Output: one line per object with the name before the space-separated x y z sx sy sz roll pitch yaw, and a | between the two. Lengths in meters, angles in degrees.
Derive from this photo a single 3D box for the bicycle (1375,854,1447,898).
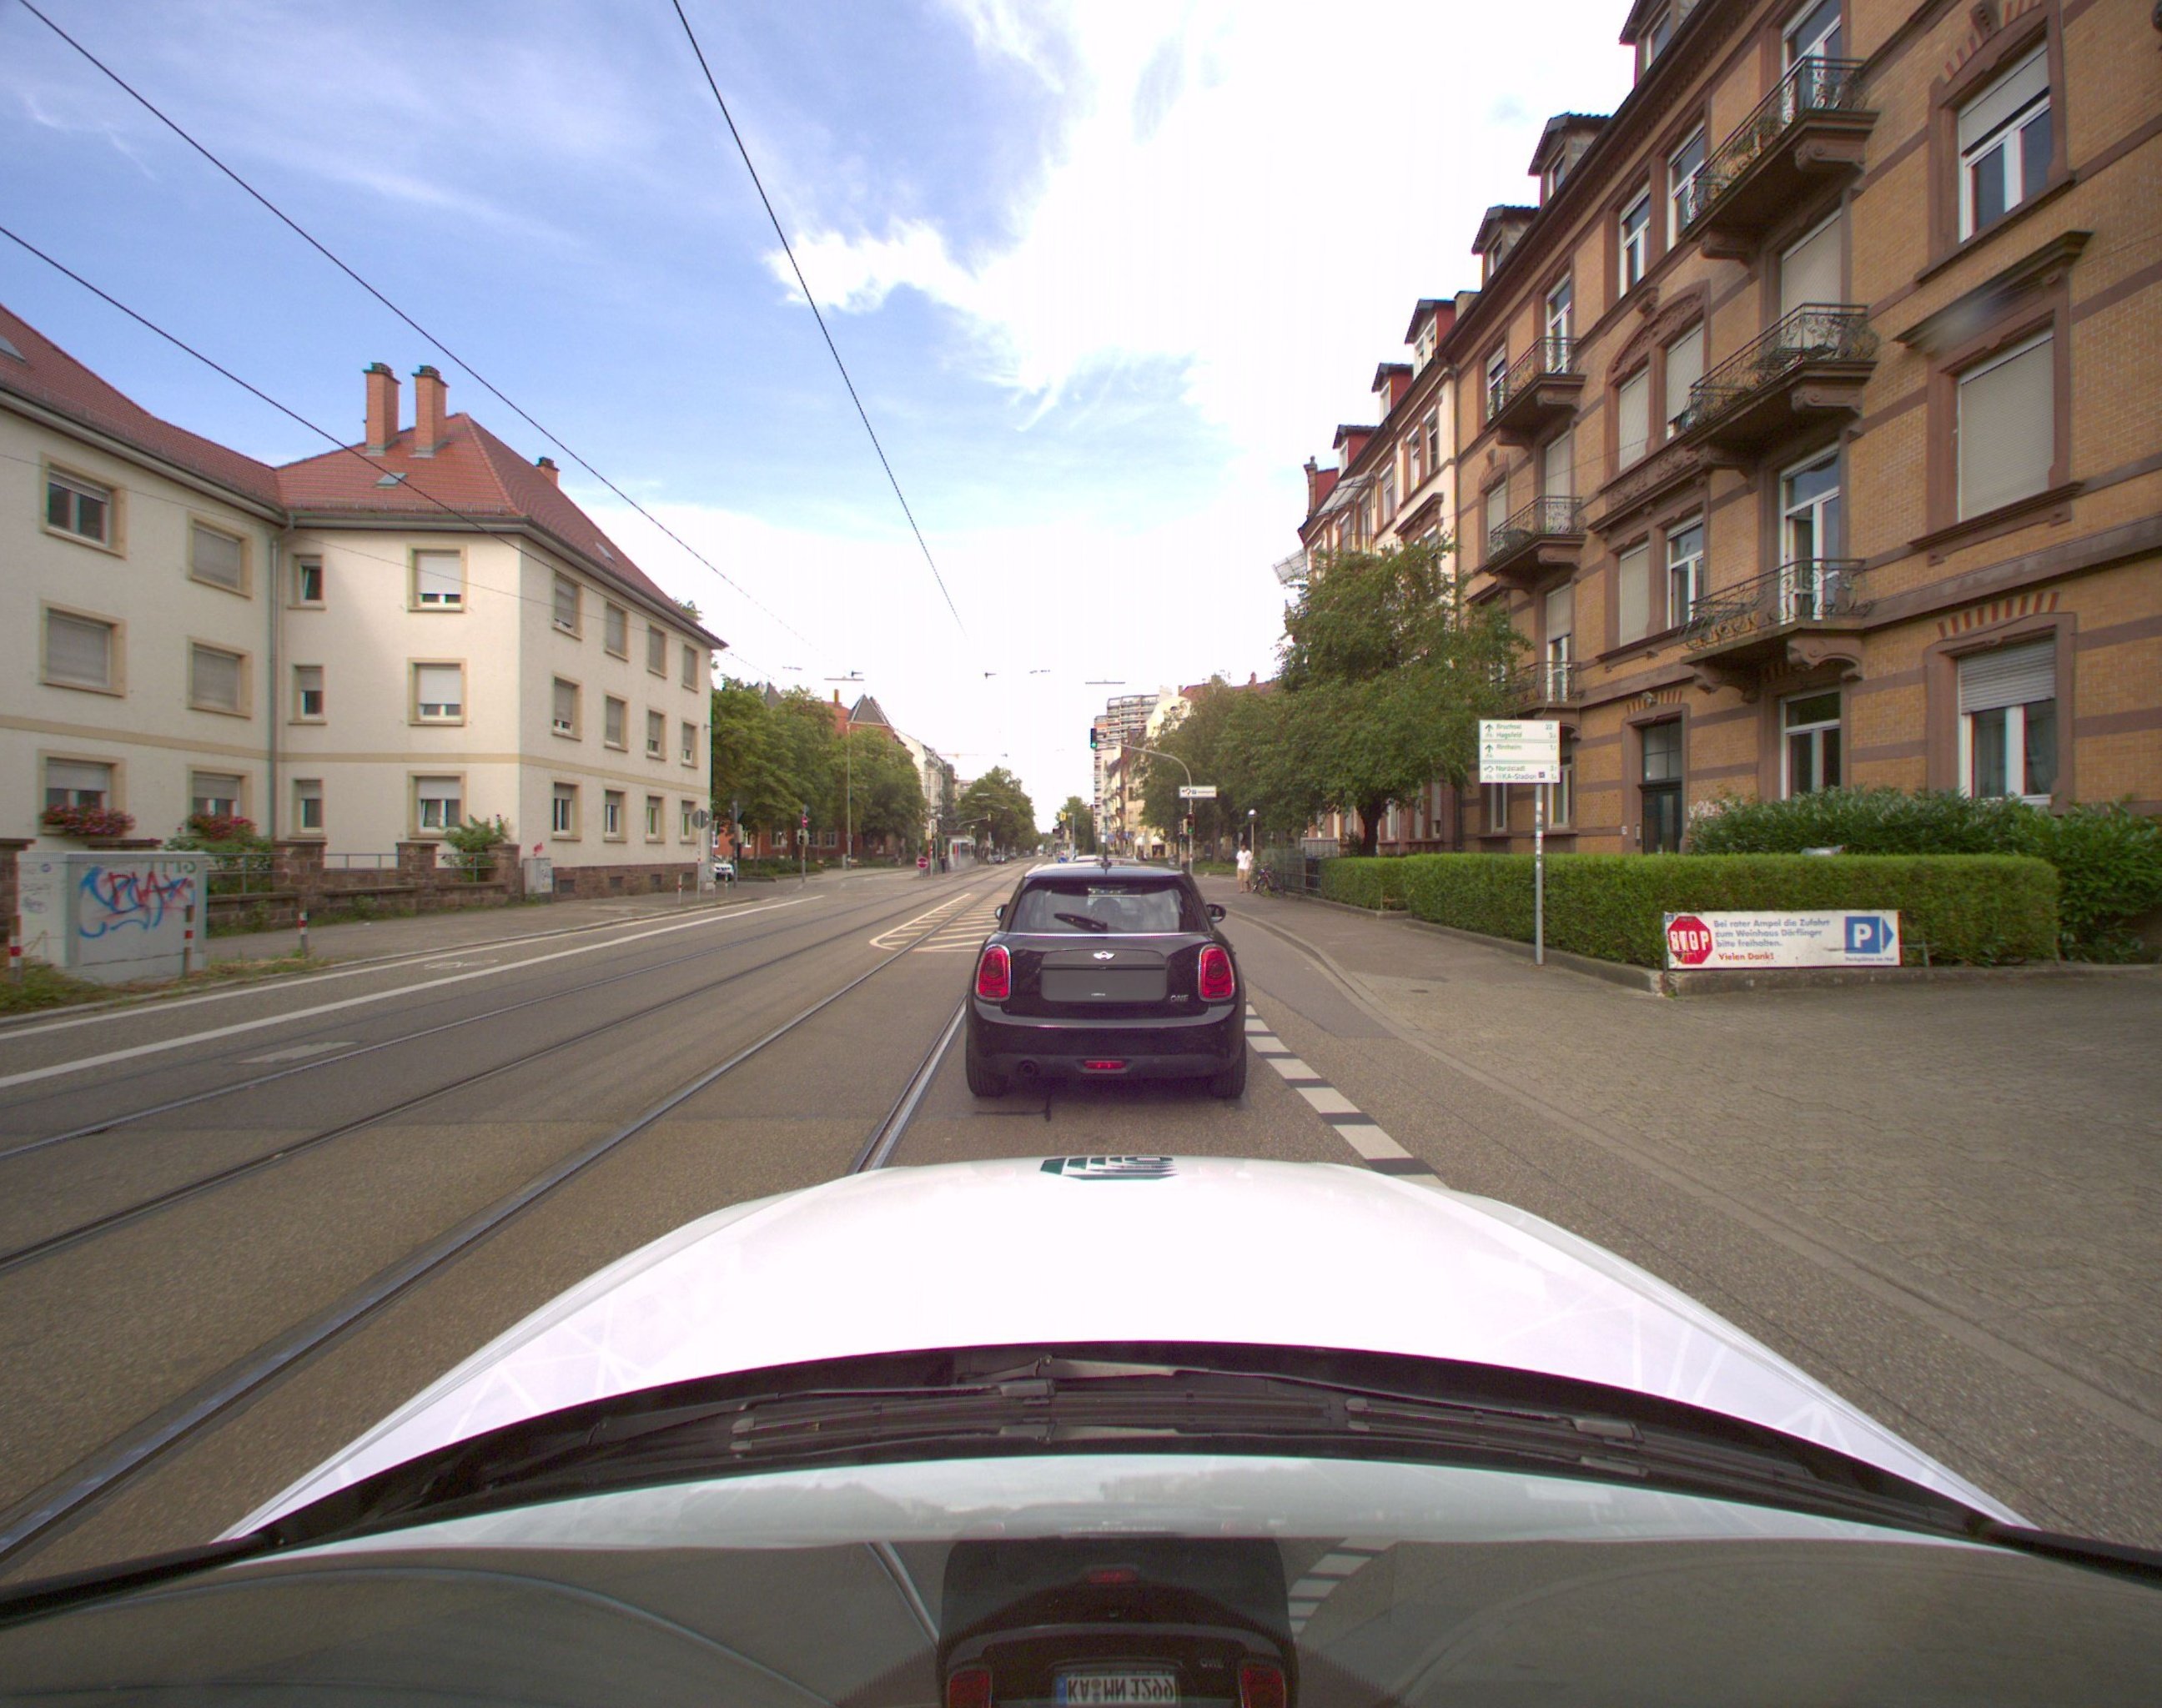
bicycle | 7.745 0.513 19.136 1.542 1.009 0.444 0 0 -4

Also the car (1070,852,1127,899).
car | 0.577 0.661 27.320 1.745 1.441 4.480 0 0 1

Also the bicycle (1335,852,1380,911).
bicycle | 6.336 0.605 18.710 0.514 1.282 1.550 0 0 0

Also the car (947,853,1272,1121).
car | 0.214 0.720 6.389 1.745 1.441 4.002 0 0 2

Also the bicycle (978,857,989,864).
bicycle | -15.537 1.035 129.708 1.681 1.119 0.566 0 0 -41

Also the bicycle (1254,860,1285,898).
bicycle | 5.778 0.741 25.014 0.507 1.088 1.549 -3 0 -2

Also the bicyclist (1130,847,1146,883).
bicyclist | 2.513 0.483 35.879 0.593 1.550 1.013 0 0 -2

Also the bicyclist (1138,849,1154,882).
bicyclist | 3.081 0.527 38.511 0.682 1.564 0.998 0 0 0

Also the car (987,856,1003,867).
car | -11.582 1.005 109.706 1.746 1.441 3.999 2 0 0

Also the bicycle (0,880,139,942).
bicycle | -16.937 0.920 13.612 0.476 0.915 1.671 0 0 -2

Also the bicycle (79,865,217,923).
bicycle | -15.982 0.662 14.007 0.476 0.915 1.671 0 0 -2

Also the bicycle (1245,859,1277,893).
bicycle | 6.124 0.747 27.750 0.669 1.106 1.671 0 0 -2

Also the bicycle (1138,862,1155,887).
bicycle | 3.087 0.956 38.440 0.682 1.170 1.696 0 0 0

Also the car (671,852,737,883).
car | -22.386 0.818 48.281 4.105 1.721 1.852 -3 -3 38

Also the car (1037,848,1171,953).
car | 0.404 0.671 13.762 1.919 1.510 4.002 0 0 2

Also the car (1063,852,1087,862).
car | -1.331 0.640 182.083 5.067 2.272 2.368 0 0 -42

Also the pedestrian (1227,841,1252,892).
pedestrian | 5.656 0.439 29.057 0.727 1.754 0.950 0 0 3

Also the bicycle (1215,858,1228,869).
bicycle | 15.321 1.057 88.947 0.526 1.128 1.905 -1 0 40

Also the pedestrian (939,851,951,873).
pedestrian | -9.837 0.579 59.002 0.851 1.621 0.841 0 0 -7

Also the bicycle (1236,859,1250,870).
bicycle | 17.312 1.102 87.055 0.659 1.128 1.905 0 0 40

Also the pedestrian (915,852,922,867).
pedestrian | -18.344 0.652 92.057 0.692 1.719 0.758 0 0 0

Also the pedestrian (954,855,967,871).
pedestrian | -9.903 0.757 66.974 1.057 1.294 0.983 0 0 -7

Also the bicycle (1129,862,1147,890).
bicycle | 2.507 0.939 35.880 0.597 1.170 1.695 0 0 -2

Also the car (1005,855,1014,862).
car | -17.471 1.112 198.823 1.988 1.552 3.997 0 0 -2

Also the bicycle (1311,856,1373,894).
bicycle | 7.164 0.570 22.391 1.542 1.009 0.509 0 0 -4

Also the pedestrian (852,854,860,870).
pedestrian | -25.132 0.883 91.013 0.832 1.703 0.731 0 0 -7

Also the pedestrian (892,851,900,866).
pedestrian | -21.619 0.524 95.088 0.832 1.703 0.731 0 0 -7
